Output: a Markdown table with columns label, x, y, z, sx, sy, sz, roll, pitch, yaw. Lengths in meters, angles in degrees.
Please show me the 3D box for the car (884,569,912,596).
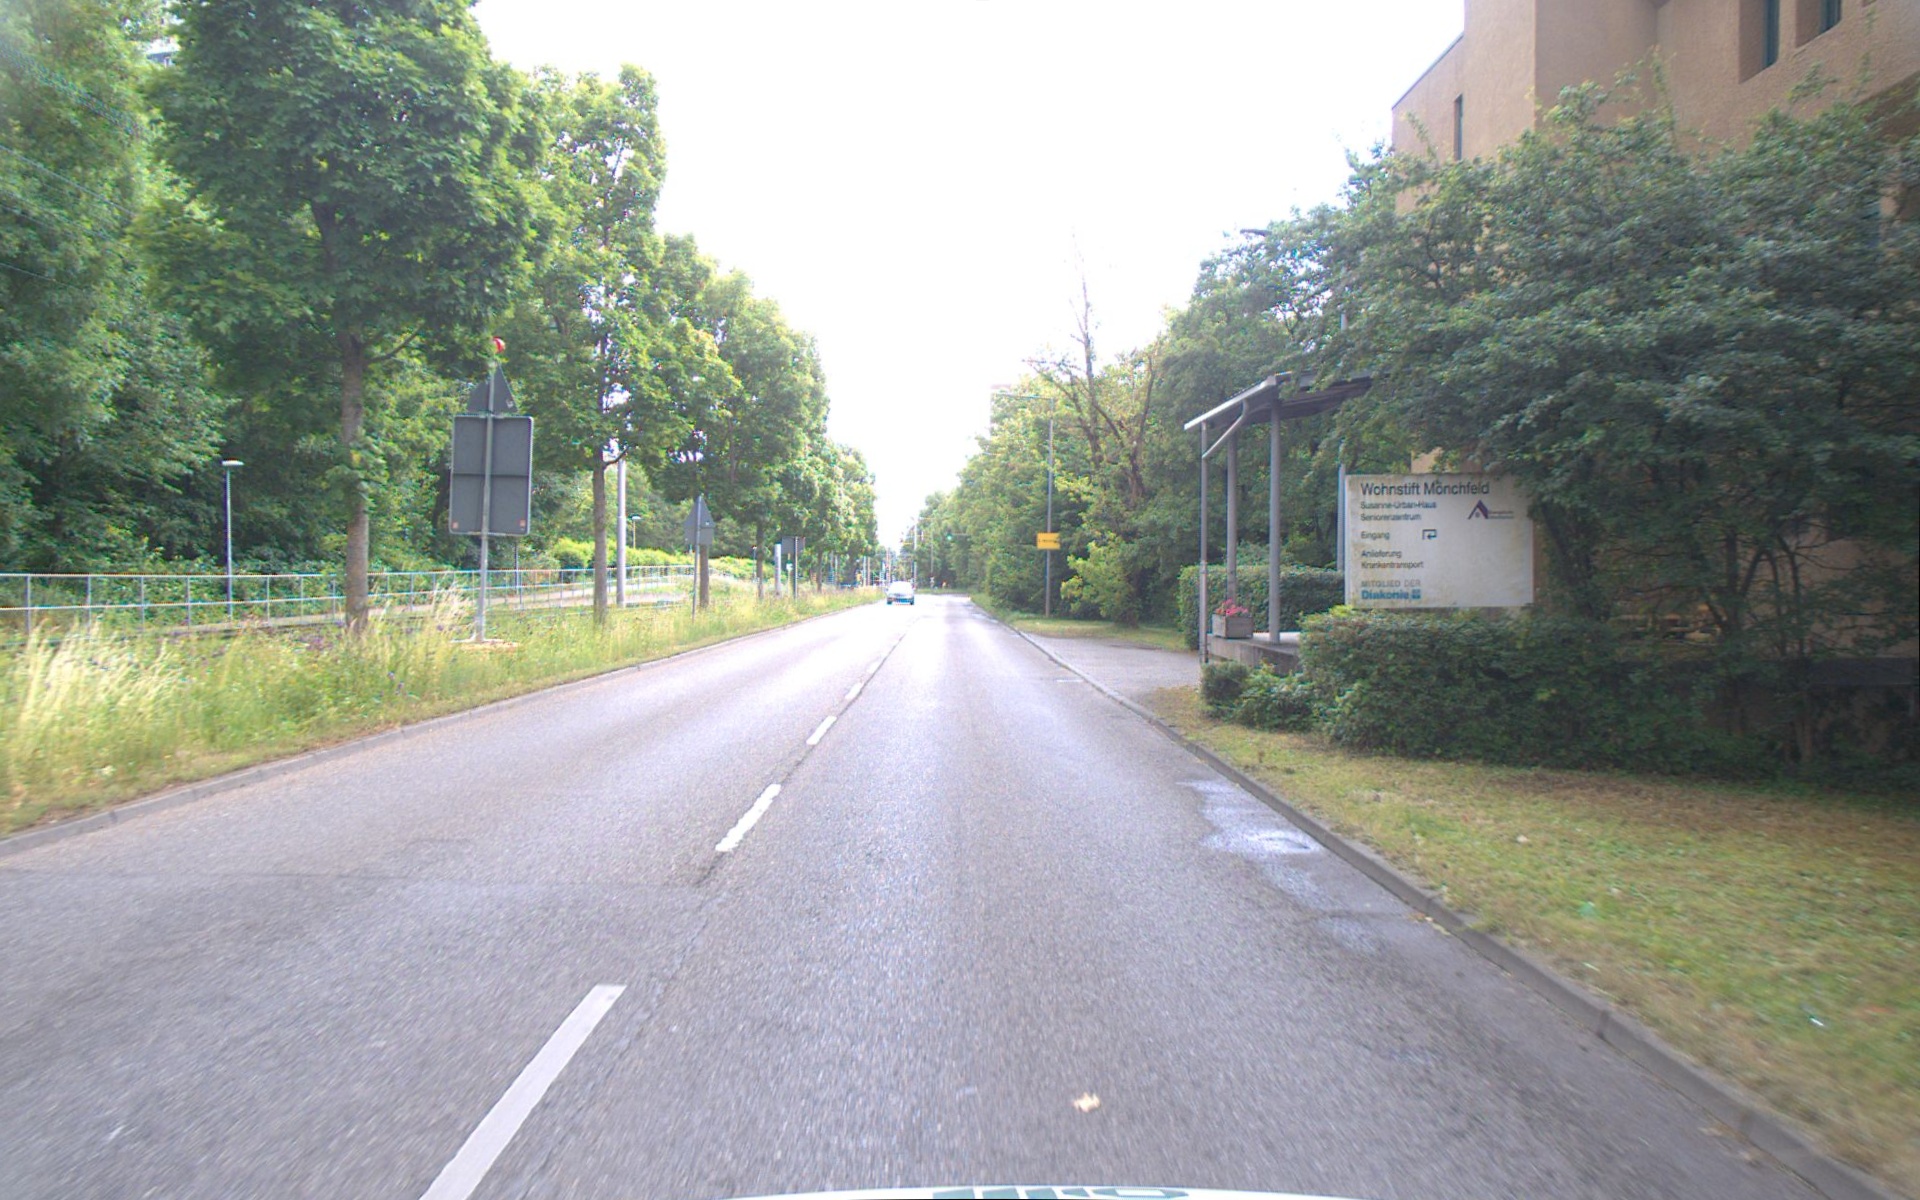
| label | x | y | z | sx | sy | sz | roll | pitch | yaw |
| --- | --- | --- | --- | --- | --- | --- | --- | --- | --- |
| car | -4.091 | -1.161 | 109.565 | 1.681 | 1.657 | 4.000 | 3 | 1 | 0 |
